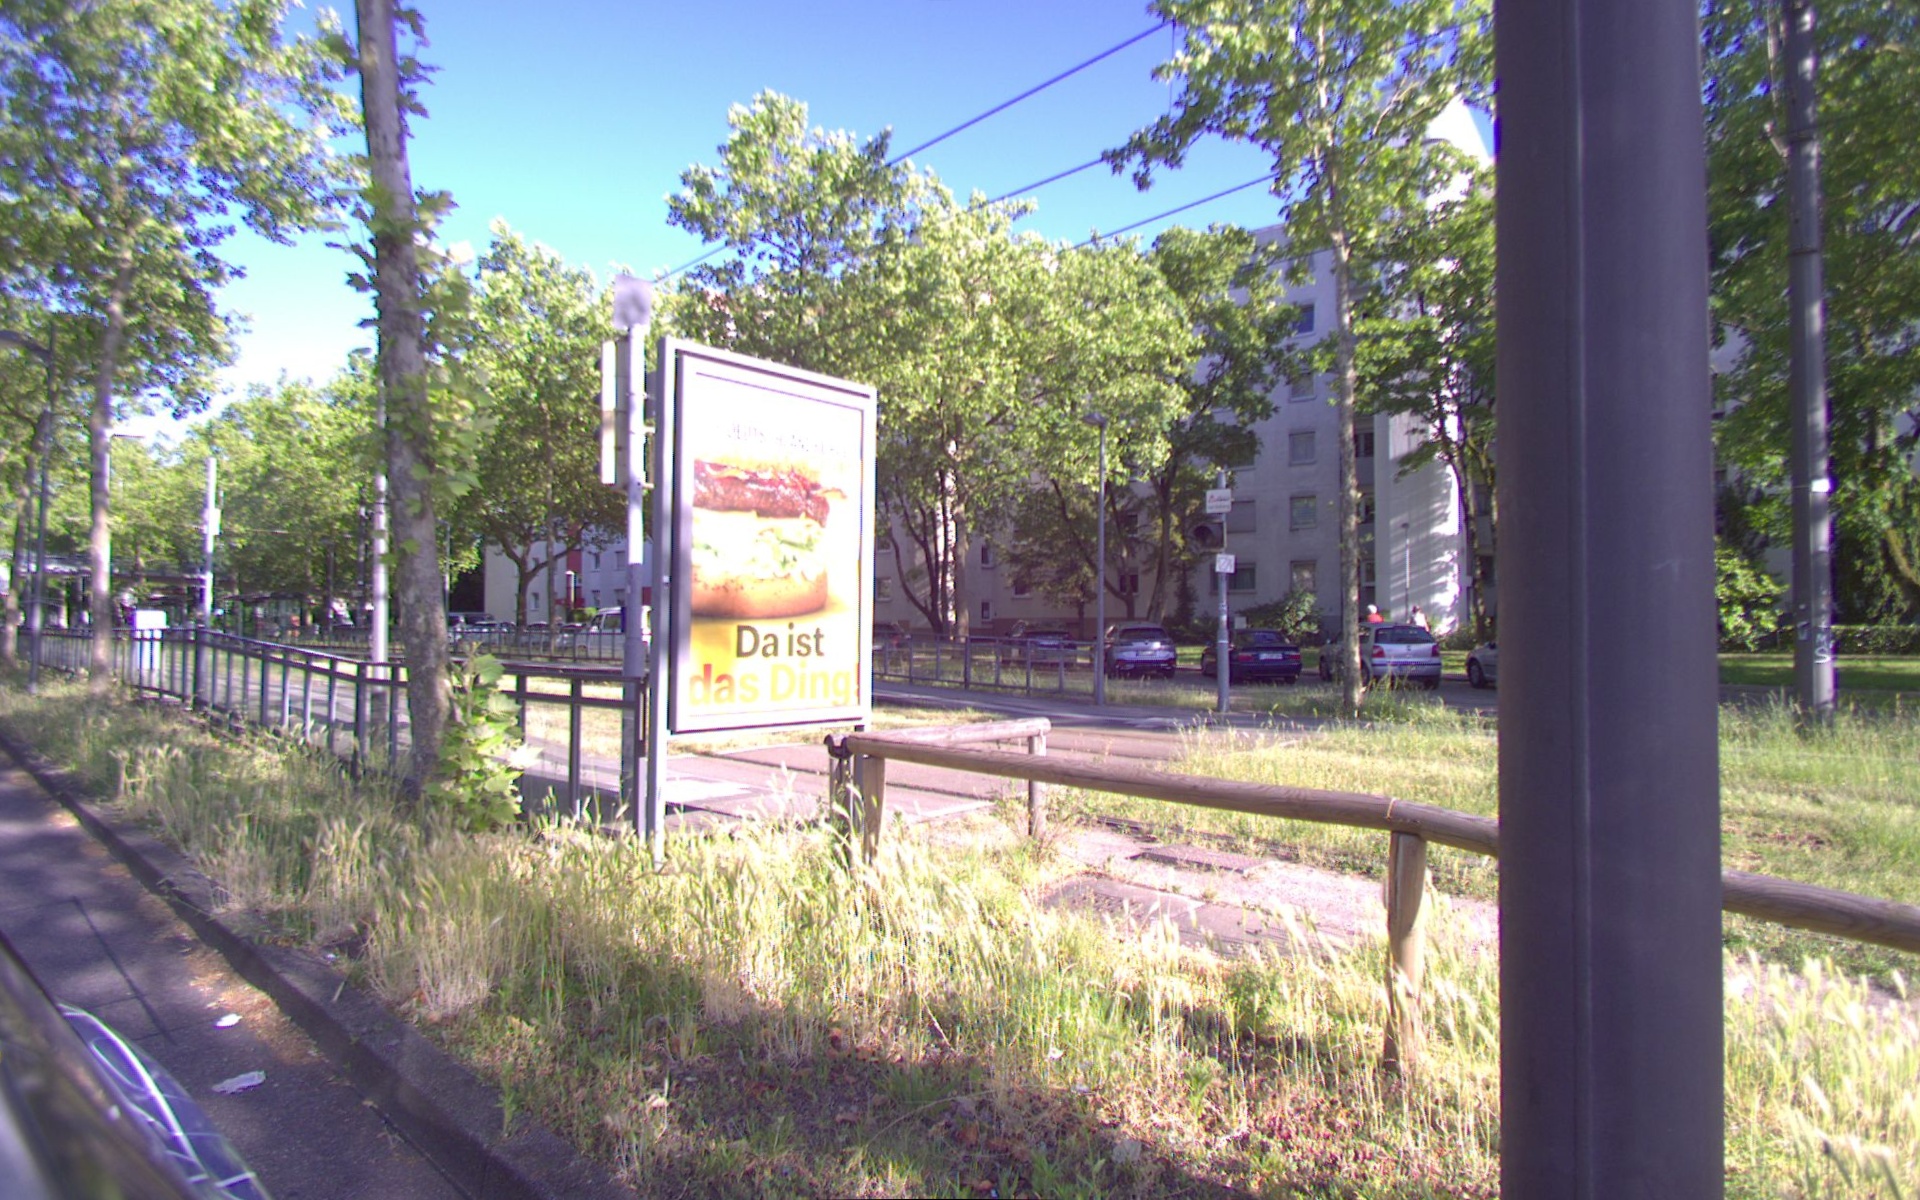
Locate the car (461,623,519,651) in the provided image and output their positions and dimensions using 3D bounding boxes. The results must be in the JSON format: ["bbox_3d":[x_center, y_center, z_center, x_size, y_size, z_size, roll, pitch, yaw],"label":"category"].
[{"bbox_3d":[-25.500,1.991,54.984,1.605,1.414,3.488,0,-1,-1],"label":"car"}]

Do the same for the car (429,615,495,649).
[{"bbox_3d":[-27.959,1.762,56.952,1.843,1.826,4.048,0,-1,-1],"label":"car"}]

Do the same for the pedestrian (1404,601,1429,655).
[{"bbox_3d":[15.181,0.917,33.633,0.634,1.770,0.516,-2,-2,39],"label":"pedestrian"}]

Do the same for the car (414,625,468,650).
[{"bbox_3d":[-30.244,2.169,59.071,1.459,1.354,3.488,0,-1,-1],"label":"car"}]

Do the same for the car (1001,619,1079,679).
[{"bbox_3d":[2.247,1.366,29.467,1.669,1.499,4.003,-1,0,-4],"label":"car"}]

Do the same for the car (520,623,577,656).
[{"bbox_3d":[-20.730,1.982,51.116,1.539,1.436,3.489,-3,0,-2],"label":"car"}]

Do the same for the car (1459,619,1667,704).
[{"bbox_3d":[11.937,1.146,20.379,1.685,1.454,3.978,-1,0,-2],"label":"car"}]

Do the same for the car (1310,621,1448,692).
[{"bbox_3d":[9.493,1.233,23.208,1.553,1.431,3.620,-1,-1,-1],"label":"car"}]

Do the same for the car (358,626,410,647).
[{"bbox_3d":[-37.344,2.338,65.713,1.459,1.330,3.488,0,-1,-1],"label":"car"}]

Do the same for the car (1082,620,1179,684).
[{"bbox_3d":[4.528,1.335,27.374,1.650,1.469,4.004,-1,0,-4],"label":"car"}]

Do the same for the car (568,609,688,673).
[{"bbox_3d":[-11.113,1.326,33.698,4.652,2.007,1.772,-2,-2,43],"label":"car"}]

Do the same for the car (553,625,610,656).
[{"bbox_3d":[-18.333,1.938,49.142,1.459,1.339,3.488,-2,0,-1],"label":"car"}]

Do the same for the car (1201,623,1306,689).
[{"bbox_3d":[7.151,1.326,24.997,1.572,1.360,3.922,-1,0,3],"label":"car"}]

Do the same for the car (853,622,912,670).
[{"bbox_3d":[-2.581,1.516,34.340,1.538,1.439,3.761,-1,0,3],"label":"car"}]

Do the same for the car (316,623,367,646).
[{"bbox_3d":[-44.251,2.459,72.500,1.578,1.538,3.737,0,-1,-3],"label":"car"}]

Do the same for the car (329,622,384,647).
[{"bbox_3d":[-40.344,2.270,67.761,1.578,1.582,3.830,0,-1,-3],"label":"car"}]

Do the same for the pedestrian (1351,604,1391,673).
[{"bbox_3d":[10.781,1.009,26.552,0.755,1.770,0.752,-2,-2,41],"label":"pedestrian"}]

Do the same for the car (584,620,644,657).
[{"bbox_3d":[-15.860,1.750,46.501,1.445,1.519,3.393,-1,0,3],"label":"car"}]

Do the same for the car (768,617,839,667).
[{"bbox_3d":[-5.604,1.484,36.652,1.791,1.607,3.997,-1,0,3],"label":"car"}]
